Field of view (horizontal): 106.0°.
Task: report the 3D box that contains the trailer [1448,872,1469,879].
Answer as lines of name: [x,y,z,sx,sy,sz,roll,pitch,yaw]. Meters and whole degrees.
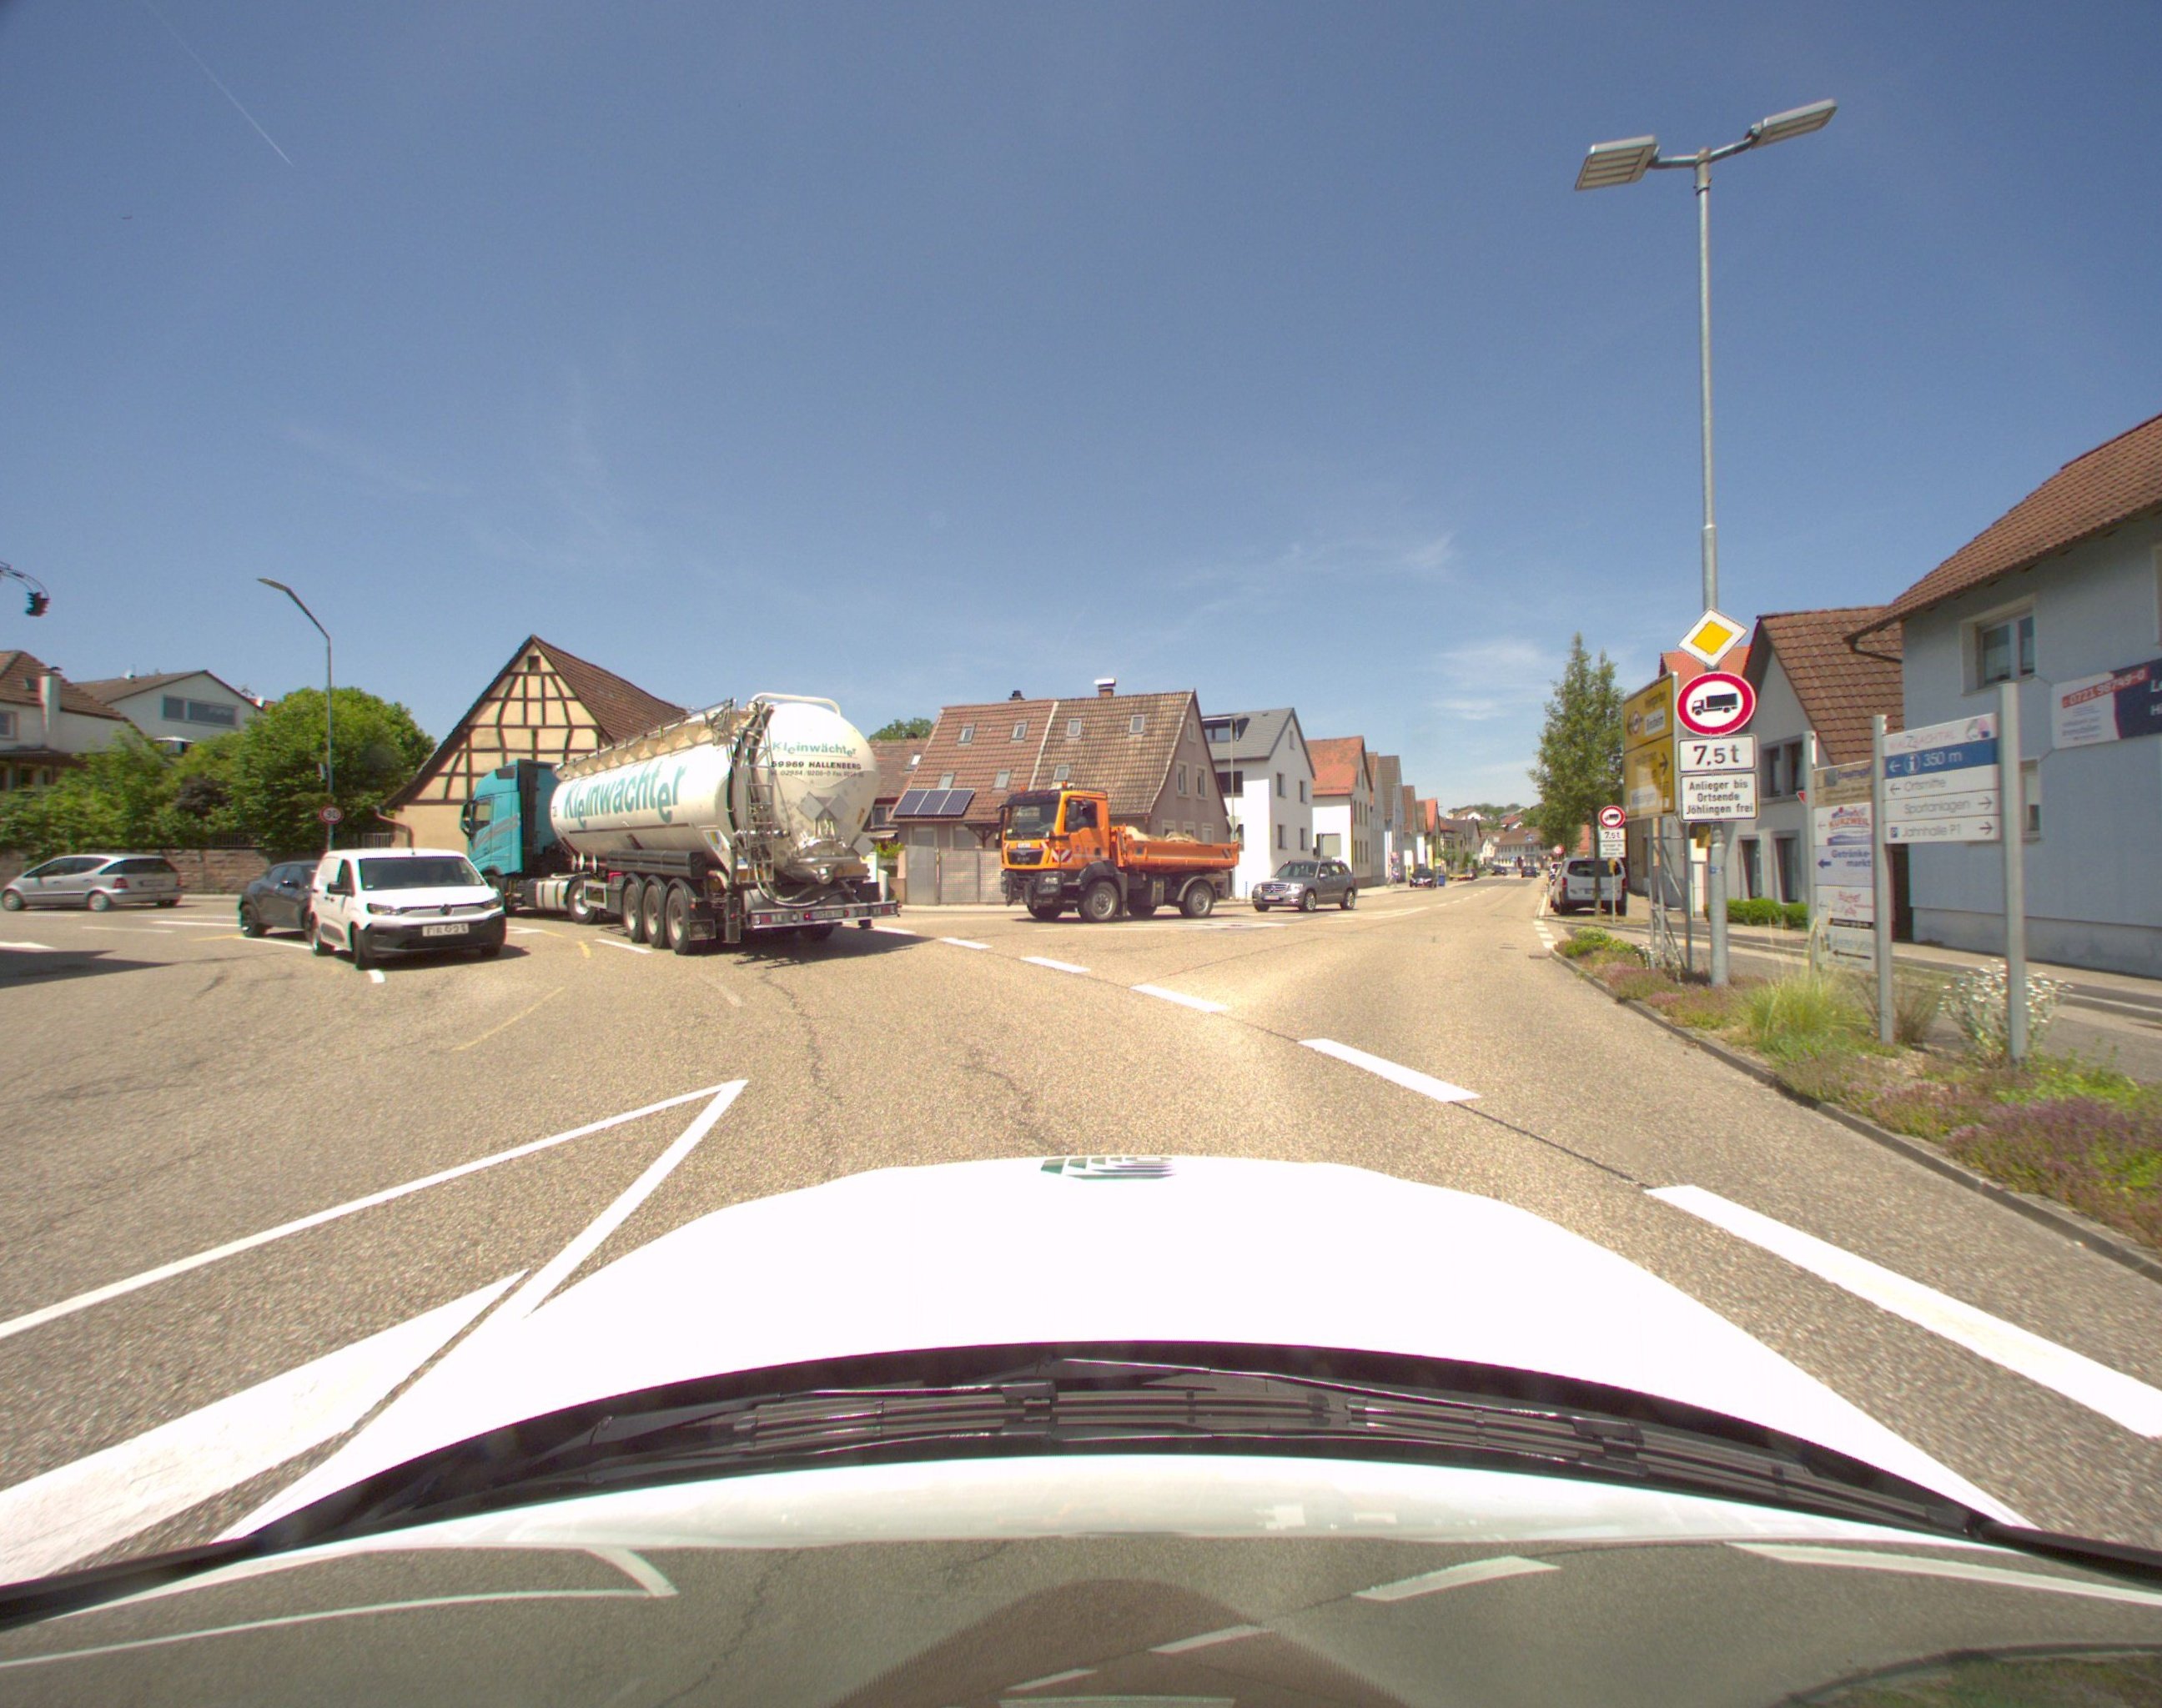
trailer: [43.236,2.460,93.275,1.934,0.777,2.734,0,-1,20]

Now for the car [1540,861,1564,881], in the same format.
car: [48.938,1.770,84.594,1.975,1.992,4.024,0,-1,28]

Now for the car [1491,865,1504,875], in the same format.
car: [65.673,2.476,128.464,1.701,1.596,4.024,0,-1,28]

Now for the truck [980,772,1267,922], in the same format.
truck: [1.328,-0.032,20.654,7.500,3.181,2.638,2,-3,-40]

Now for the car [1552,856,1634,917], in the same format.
car: [17.369,1.096,27.826,1.975,1.912,4.349,0,-2,27]

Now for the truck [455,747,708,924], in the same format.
truck: [-12.729,-0.389,20.794,5.509,3.965,3.015,-1,0,27]

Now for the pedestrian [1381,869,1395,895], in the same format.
pedestrian: [23.726,2.145,62.965,0.761,2.014,0.983,-1,-1,35]

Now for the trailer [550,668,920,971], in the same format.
trailer: [-7.477,-0.433,15.868,2.978,3.948,11.478,1,-1,-42]

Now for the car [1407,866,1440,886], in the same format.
car: [28.668,1.784,68.100,1.701,1.596,4.025,0,-1,35]

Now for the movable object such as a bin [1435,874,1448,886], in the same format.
movable object such as a bin: [31.985,2.299,72.247,0.911,1.049,0.949,0,-1,30]

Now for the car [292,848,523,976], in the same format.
car: [-11.262,0.817,13.520,4.463,1.785,1.892,0,0,36]

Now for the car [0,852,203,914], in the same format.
car: [-27.265,0.793,22.741,3.581,1.585,1.788,-1,-1,1]

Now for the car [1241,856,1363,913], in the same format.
car: [7.153,0.951,26.099,1.975,1.675,4.338,-1,-2,43]

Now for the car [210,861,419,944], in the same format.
car: [-16.031,0.937,17.022,3.951,1.524,1.808,0,0,25]

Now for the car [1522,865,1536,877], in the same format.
car: [59.868,2.247,108.847,1.701,1.596,4.024,0,-1,28]
